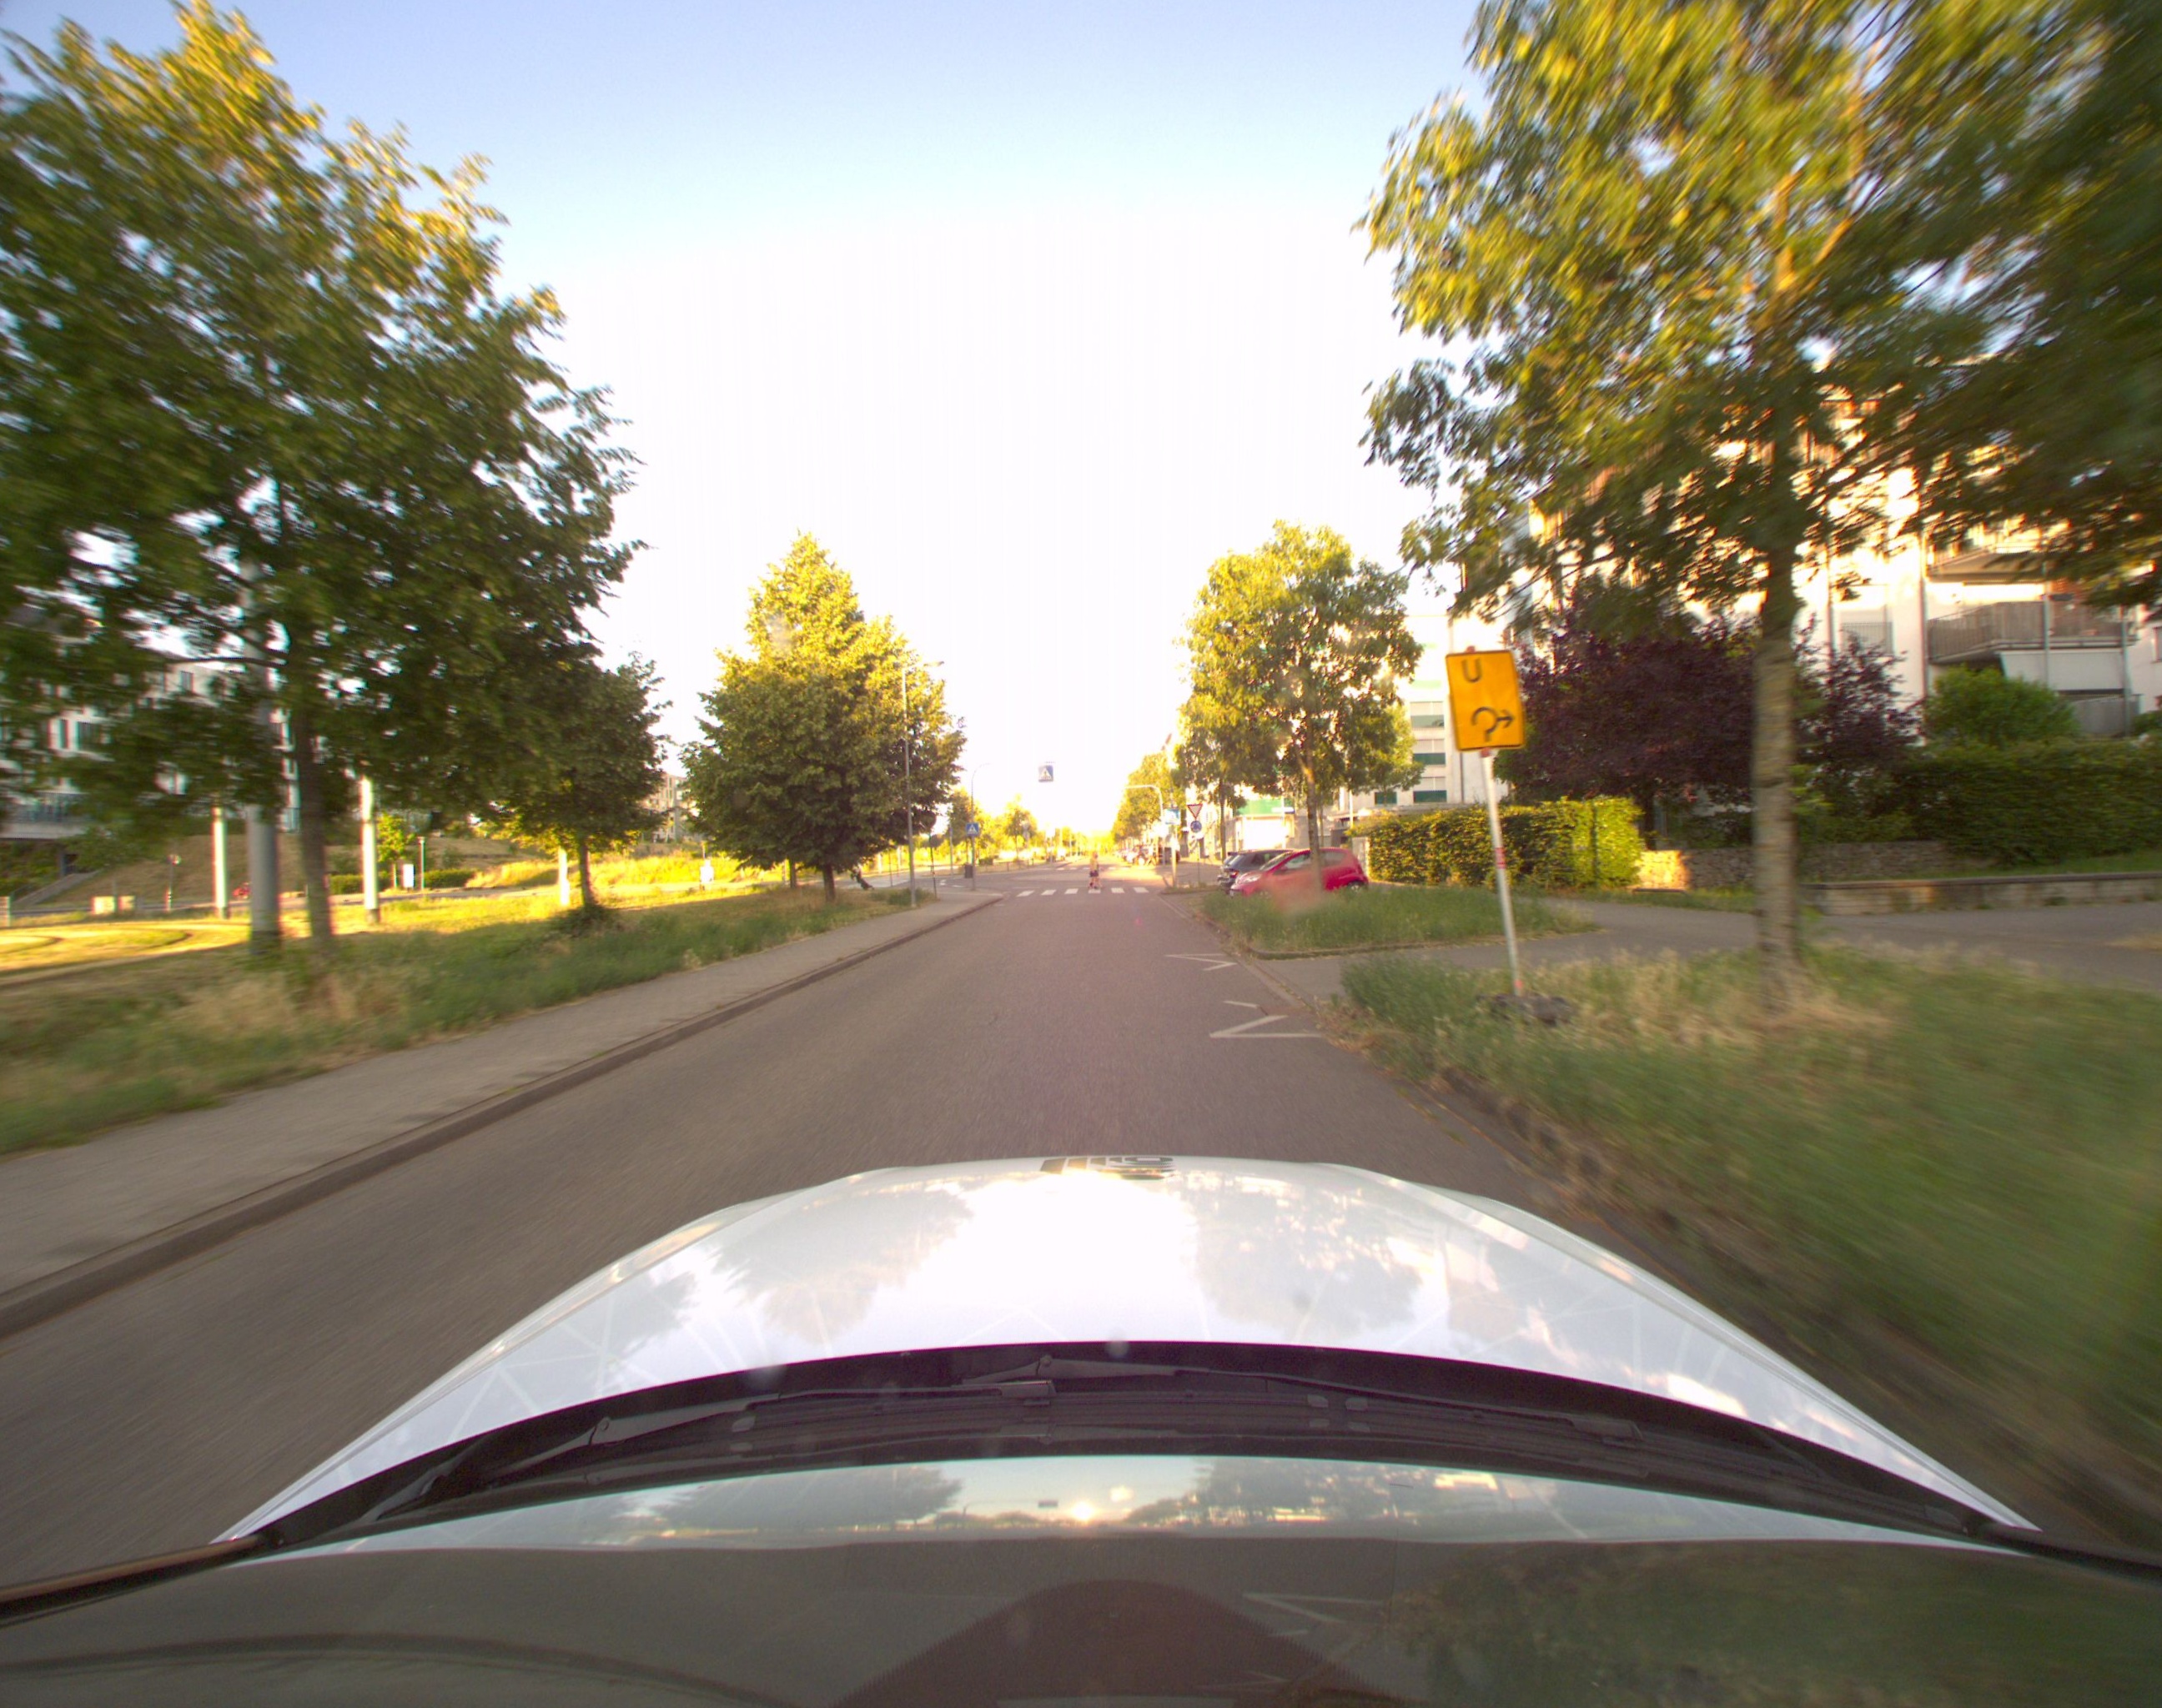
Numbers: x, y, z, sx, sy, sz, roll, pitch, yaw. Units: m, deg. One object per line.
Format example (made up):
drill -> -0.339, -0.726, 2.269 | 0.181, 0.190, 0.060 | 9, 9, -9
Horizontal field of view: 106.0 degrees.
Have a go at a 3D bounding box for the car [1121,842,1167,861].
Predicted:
car -> 7.285, -0.322, 94.599 | 4.992, 2.045, 2.248 | -2, 0, -4

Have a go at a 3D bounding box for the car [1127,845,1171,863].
car -> 6.595, 0.004, 79.313 | 4.247, 1.596, 2.001 | -2, 0, 2

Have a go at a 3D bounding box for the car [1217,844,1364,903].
car -> 5.990, 0.552, 23.607 | 3.791, 1.508, 1.678 | -2, 0, -1

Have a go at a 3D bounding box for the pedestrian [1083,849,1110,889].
pedestrian -> 0.674, 0.647, 36.075 | 1.018, 1.693, 0.757 | -2, 0, -10

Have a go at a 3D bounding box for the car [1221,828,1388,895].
car -> 5.685, 0.183, 21.006 | 3.791, 1.508, 1.678 | -2, 0, -1

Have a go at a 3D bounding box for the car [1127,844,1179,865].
car -> 6.287, 0.028, 71.387 | 4.467, 1.596, 2.001 | -2, 0, 2

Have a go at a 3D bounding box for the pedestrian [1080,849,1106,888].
pedestrian -> 0.546, 0.634, 36.802 | 0.983, 1.693, 0.697 | -2, 0, -10

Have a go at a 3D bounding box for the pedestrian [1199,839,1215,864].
pedestrian -> 9.375, -0.181, 60.520 | 1.002, 1.788, 0.761 | -1, 0, -5

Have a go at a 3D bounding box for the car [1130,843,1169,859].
car -> 7.668, -0.374, 91.538 | 4.249, 1.596, 2.000 | -2, 0, 0

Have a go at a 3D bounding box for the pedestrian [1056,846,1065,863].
pedestrian -> -2.383, 0.072, 95.789 | 0.866, 2.013, 0.787 | -2, 0, -9

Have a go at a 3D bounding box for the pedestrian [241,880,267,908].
pedestrian -> -55.103, 2.664, 54.259 | 0.783, 1.786, 0.815 | -2, 0, 4

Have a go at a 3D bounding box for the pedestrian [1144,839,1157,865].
pedestrian -> 5.517, -0.169, 64.607 | 0.842, 2.013, 0.945 | -2, 0, 7

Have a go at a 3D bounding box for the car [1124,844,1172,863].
car -> 6.267, -0.042, 76.592 | 4.338, 1.596, 2.001 | -2, 0, 2

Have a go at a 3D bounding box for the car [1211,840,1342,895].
car -> 6.247, 0.412, 26.297 | 3.792, 1.508, 1.678 | -3, 2, -1
